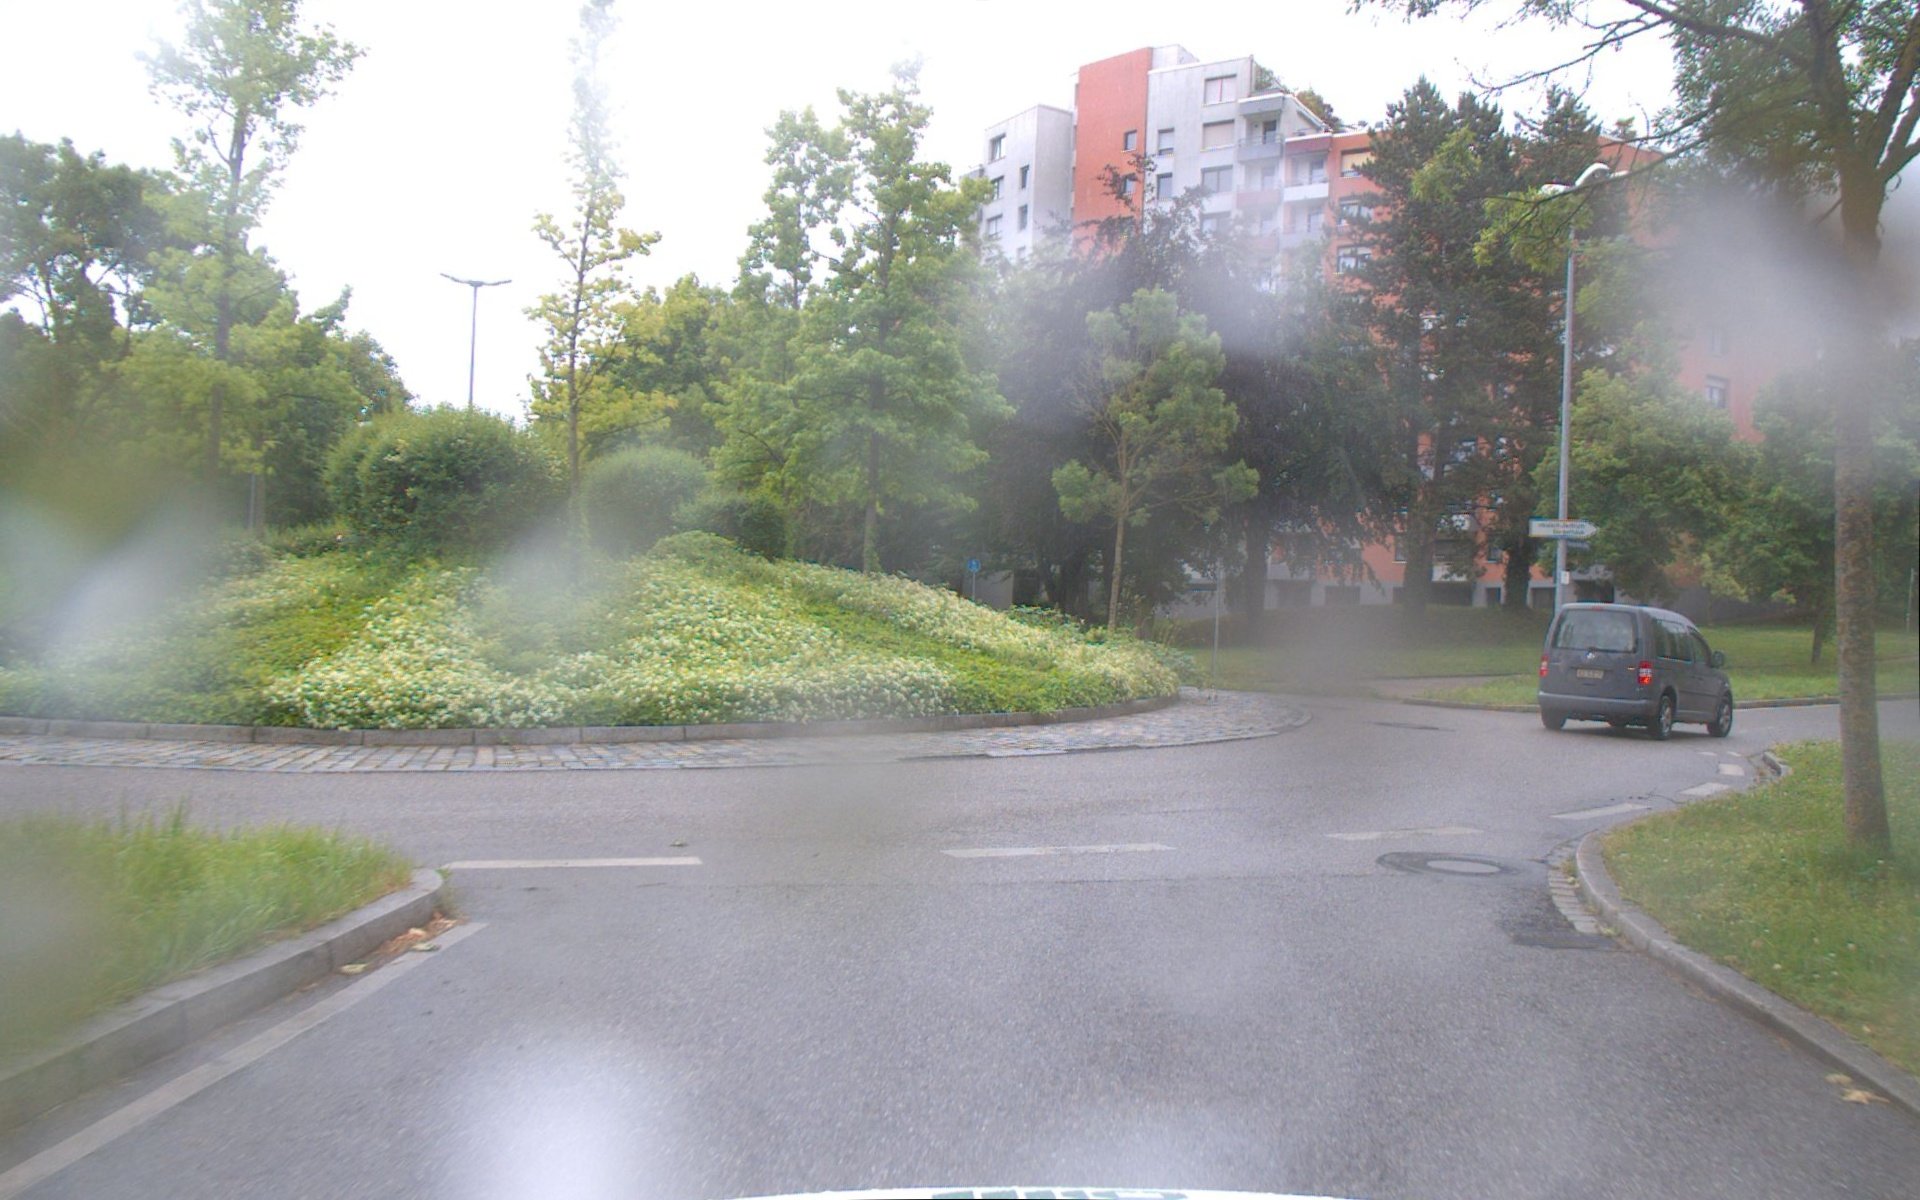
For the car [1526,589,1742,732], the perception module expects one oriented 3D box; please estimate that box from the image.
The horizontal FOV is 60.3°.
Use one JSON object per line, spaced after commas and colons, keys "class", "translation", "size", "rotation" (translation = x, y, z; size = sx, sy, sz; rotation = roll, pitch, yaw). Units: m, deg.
{"class": "car", "translation": [10.042, 0.906, 24.496], "size": [1.889, 1.832, 3.771], "rotation": [4, 0, 39]}
